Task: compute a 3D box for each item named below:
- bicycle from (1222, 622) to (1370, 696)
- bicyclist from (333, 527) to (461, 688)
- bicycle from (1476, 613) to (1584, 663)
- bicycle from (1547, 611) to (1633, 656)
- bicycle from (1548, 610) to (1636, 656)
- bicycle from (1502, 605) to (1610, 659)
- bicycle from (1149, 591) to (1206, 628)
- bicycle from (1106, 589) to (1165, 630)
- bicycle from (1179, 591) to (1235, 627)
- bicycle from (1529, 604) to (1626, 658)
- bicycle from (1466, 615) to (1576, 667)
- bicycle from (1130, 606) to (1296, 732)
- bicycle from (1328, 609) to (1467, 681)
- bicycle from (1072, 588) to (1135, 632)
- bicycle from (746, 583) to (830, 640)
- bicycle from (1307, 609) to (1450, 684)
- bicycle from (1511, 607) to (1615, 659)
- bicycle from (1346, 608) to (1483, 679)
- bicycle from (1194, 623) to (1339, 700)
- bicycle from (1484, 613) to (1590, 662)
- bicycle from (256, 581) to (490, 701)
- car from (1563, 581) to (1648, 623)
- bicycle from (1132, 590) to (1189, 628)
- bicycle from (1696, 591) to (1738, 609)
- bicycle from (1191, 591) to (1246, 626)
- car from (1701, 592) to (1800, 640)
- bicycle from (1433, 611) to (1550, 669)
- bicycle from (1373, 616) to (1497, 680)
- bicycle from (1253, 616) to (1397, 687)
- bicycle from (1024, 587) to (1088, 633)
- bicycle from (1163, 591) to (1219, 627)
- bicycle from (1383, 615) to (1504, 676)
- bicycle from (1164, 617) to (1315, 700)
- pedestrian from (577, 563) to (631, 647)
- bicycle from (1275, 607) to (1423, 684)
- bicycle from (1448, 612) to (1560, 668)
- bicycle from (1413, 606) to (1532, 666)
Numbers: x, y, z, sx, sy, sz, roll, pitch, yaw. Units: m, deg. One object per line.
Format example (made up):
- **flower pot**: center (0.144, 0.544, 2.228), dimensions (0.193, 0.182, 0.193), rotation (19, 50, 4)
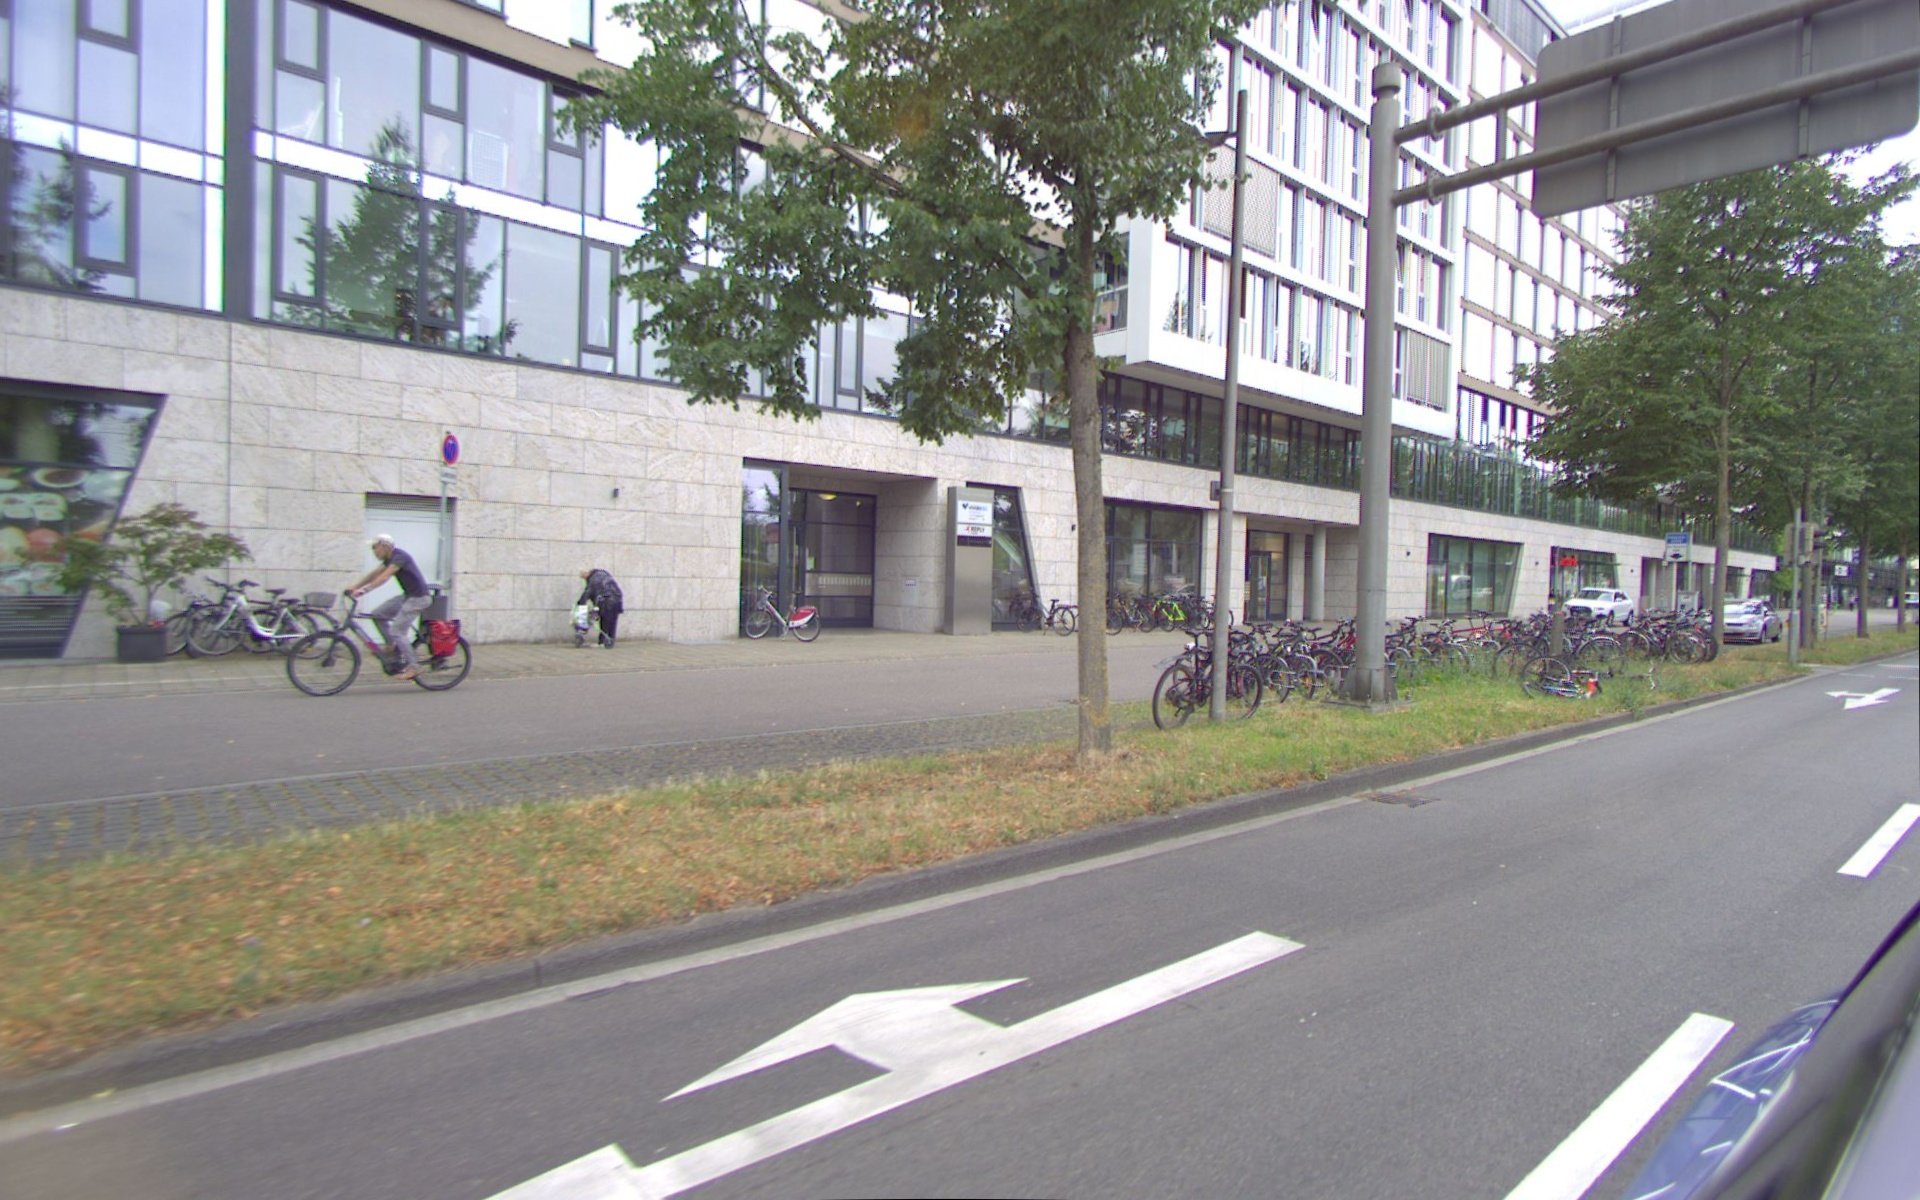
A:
- **bicycle**: center (4.663, 0.795, 14.148), dimensions (0.642, 0.963, 1.862), rotation (0, -2, -43)
- **bicyclist**: center (-6.650, 0.061, 11.944), dimensions (1.110, 1.758, 0.999), rotation (0, 4, -42)
- **bicycle**: center (10.957, 0.733, 19.486), dimensions (1.713, 0.917, 0.580), rotation (-2, -2, 42)
- **bicycle**: center (14.014, 0.728, 22.524), dimensions (0.543, 0.965, 1.530), rotation (1, -1, -43)
- **bicycle**: center (13.611, 0.698, 21.826), dimensions (0.476, 0.965, 1.530), rotation (1, -1, -43)
- **bicycle**: center (11.956, 0.641, 20.347), dimensions (1.770, 1.025, 0.601), rotation (-2, -2, 42)
- **bicycle**: center (6.130, 0.254, 28.543), dimensions (0.524, 0.965, 1.531), rotation (0, 2, -43)
- **bicycle**: center (4.726, 0.244, 27.311), dimensions (0.524, 1.039, 1.531), rotation (0, 2, -43)
- **bicycle**: center (7.198, 0.253, 29.542), dimensions (0.524, 0.965, 1.531), rotation (0, 2, -43)
- **bicycle**: center (13.029, 0.635, 21.395), dimensions (0.516, 1.104, 1.669), rotation (1, -1, -43)
- **bicycle**: center (10.530, 0.764, 19.025), dimensions (1.713, 0.917, 0.580), rotation (-2, -2, 42)
- **bicycle**: center (2.605, 0.639, 10.236), dimensions (0.709, 1.130, 2.170), rotation (-2, -2, 41)
- **bicycle**: center (6.875, 0.699, 15.982), dimensions (1.927, 1.079, 0.535), rotation (-2, -2, 42)
- **bicycle**: center (3.675, 0.231, 25.992), dimensions (0.524, 1.039, 1.600), rotation (0, 3, -43)
- **bicycle**: center (-3.464, 0.214, 20.355), dimensions (1.585, 1.039, 0.606), rotation (3, 2, 23)
- **bicycle**: center (6.363, 0.697, 15.475), dimensions (0.631, 1.079, 1.931), rotation (0, -2, -43)
- **bicycle**: center (12.410, 0.668, 20.864), dimensions (1.770, 1.025, 0.601), rotation (-1, -1, 42)
- **bicycle**: center (7.311, 0.694, 16.348), dimensions (1.927, 1.079, 0.535), rotation (-2, -2, 42)
- **bicycle**: center (4.103, 0.802, 13.671), dimensions (0.493, 0.963, 1.862), rotation (0, -2, -43)
- **bicycle**: center (11.359, 0.732, 19.945), dimensions (1.713, 0.917, 0.580), rotation (-2, -2, 42)
- **bicycle**: center (-6.820, 0.429, 11.840), dimensions (2.229, 1.250, 0.903), rotation (0, 3, -42)
- **car**: center (27.504, 0.067, 43.060), dimensions (4.165, 1.607, 1.862), rotation (0, 4, -41)
- **bicycle**: center (5.540, 0.238, 27.987), dimensions (0.524, 0.965, 1.531), rotation (0, 2, -43)
- **bicycle**: center (51.602, -0.014, 68.994), dimensions (2.231, 1.191, 0.961), rotation (2, 2, 43)
- **bicycle**: center (7.637, 0.243, 29.963), dimensions (0.524, 0.965, 1.531), rotation (0, 2, -43)
- **car**: center (25.703, 0.482, 32.875), dimensions (4.109, 1.439, 1.764), rotation (0, 1, -41)
- **bicycle**: center (9.540, 0.708, 18.204), dimensions (1.742, 0.986, 0.600), rotation (-2, -2, 42)
- **bicycle**: center (7.827, 0.779, 16.719), dimensions (1.742, 0.986, 0.600), rotation (-2, -2, 42)
- **bicycle**: center (5.232, 0.722, 14.603), dimensions (0.602, 0.963, 1.862), rotation (0, -2, -43)
- **bicycle**: center (2.331, 0.232, 24.776), dimensions (0.524, 1.039, 1.600), rotation (0, 3, -43)
- **bicycle**: center (6.585, 0.248, 28.926), dimensions (0.524, 0.965, 1.531), rotation (0, 2, -43)
- **bicycle**: center (8.206, 0.759, 17.217), dimensions (1.742, 0.986, 0.600), rotation (-2, -2, 42)
- **bicycle**: center (3.611, 0.737, 13.209), dimensions (0.564, 1.008, 1.862), rotation (0, -2, -43)
- **pedestrian**: center (-6.270, 0.080, 17.815), dimensions (0.707, 1.424, 0.759), rotation (1, 1, -33)
- **bicycle**: center (5.752, 0.659, 15.042), dimensions (0.693, 1.079, 1.931), rotation (0, -2, -43)
- **bicycle**: center (9.999, 0.721, 18.650), dimensions (1.713, 0.986, 0.600), rotation (-2, -2, 42)
- **bicycle**: center (8.917, 0.620, 17.664), dimensions (1.742, 0.986, 0.600), rotation (-2, -2, 42)
